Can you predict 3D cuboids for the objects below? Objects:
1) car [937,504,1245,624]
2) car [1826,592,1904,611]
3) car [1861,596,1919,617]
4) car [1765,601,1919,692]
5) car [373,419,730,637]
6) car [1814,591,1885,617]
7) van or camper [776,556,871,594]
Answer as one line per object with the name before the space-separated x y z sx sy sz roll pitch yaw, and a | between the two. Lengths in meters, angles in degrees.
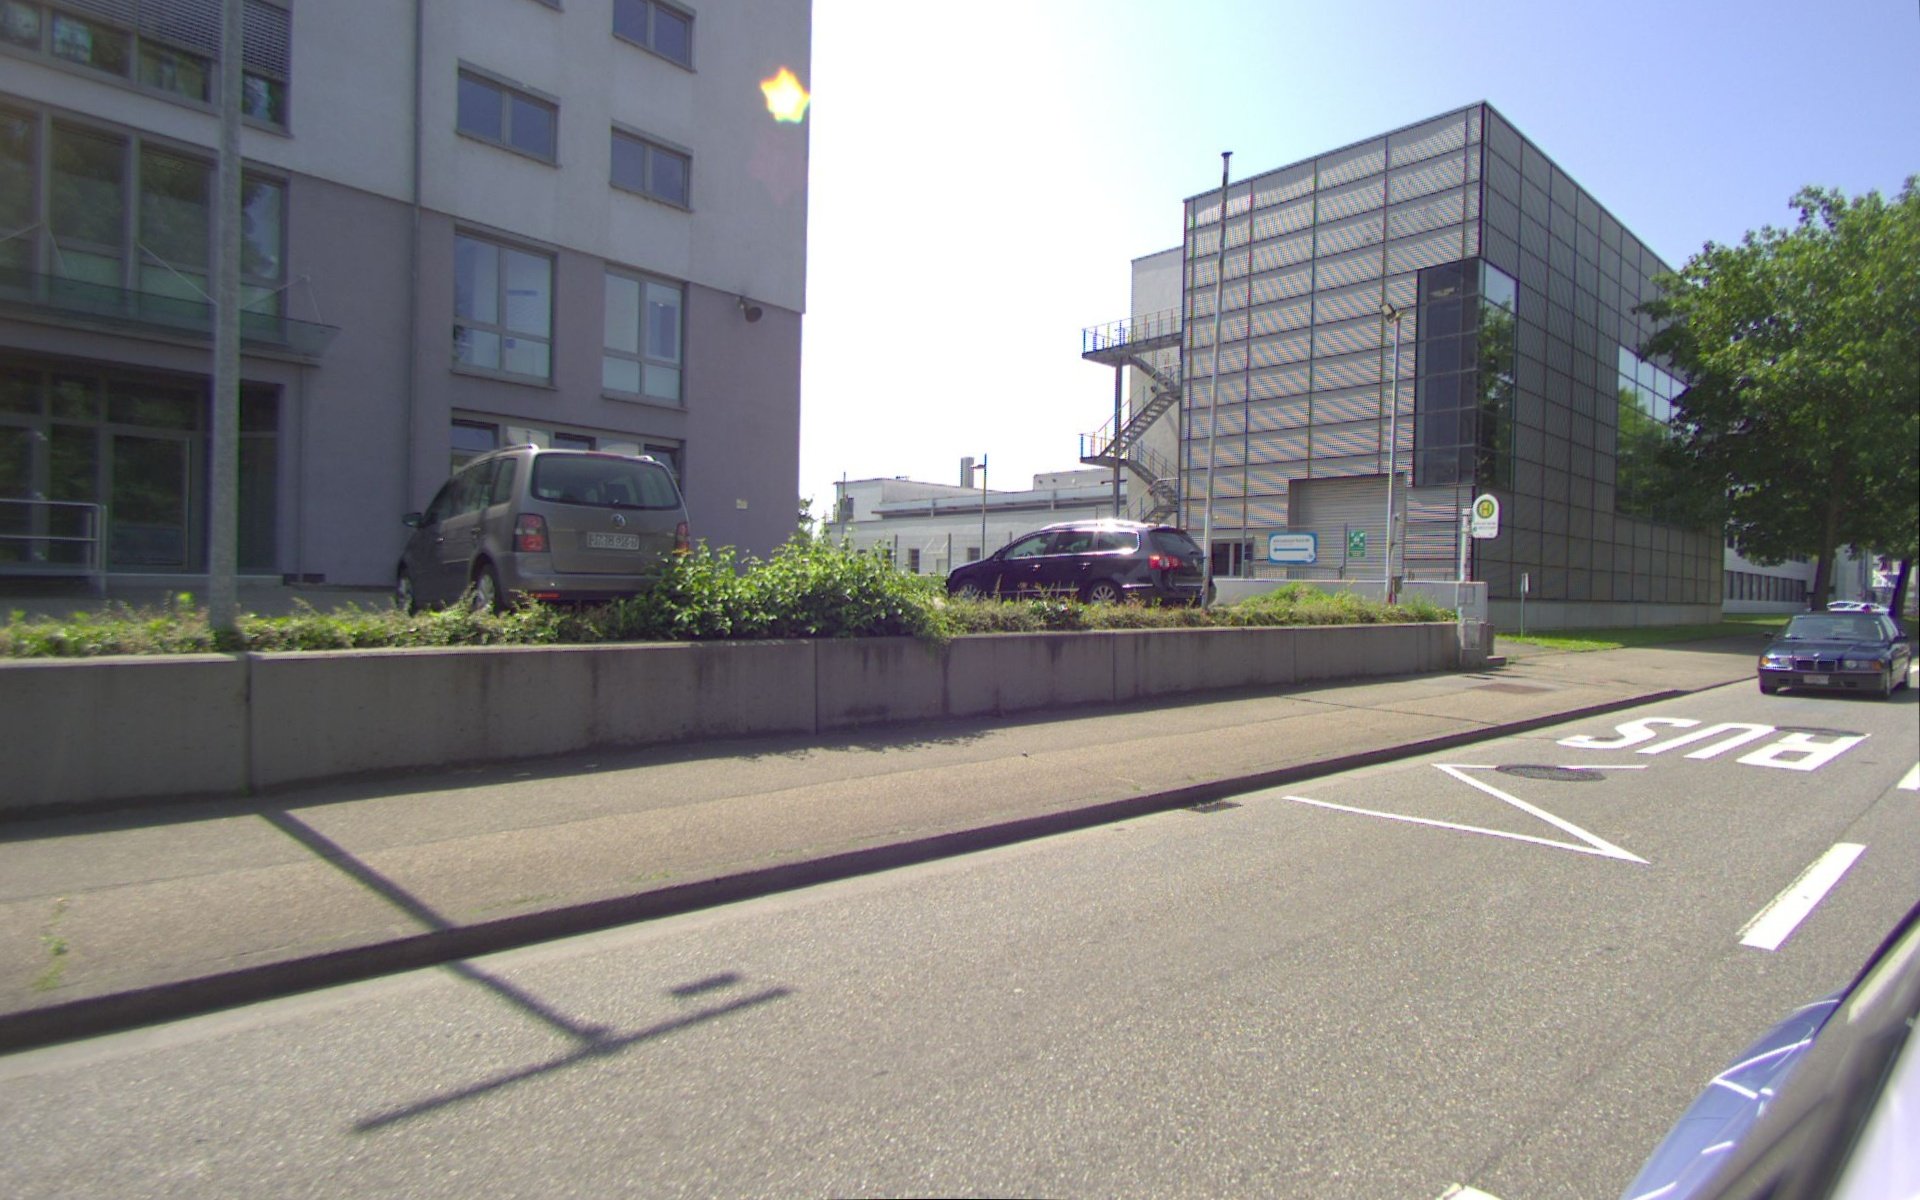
car | 1.924 -0.580 15.859 4.501 1.602 1.968 3 2 44
car | 72.310 0.102 80.917 4.613 1.407 1.969 3 2 44
car | 84.507 0.608 91.631 4.261 1.710 1.968 3 2 45
car | 15.051 0.735 17.084 3.690 1.356 1.631 1 -1 -41
car | -4.201 -0.637 9.997 1.966 1.667 4.234 0 2 -42
car | 66.334 0.285 75.493 3.816 1.611 1.704 6 4 45
van or camper | -6.993 -1.285 52.156 4.459 1.817 1.997 0 2 -42
